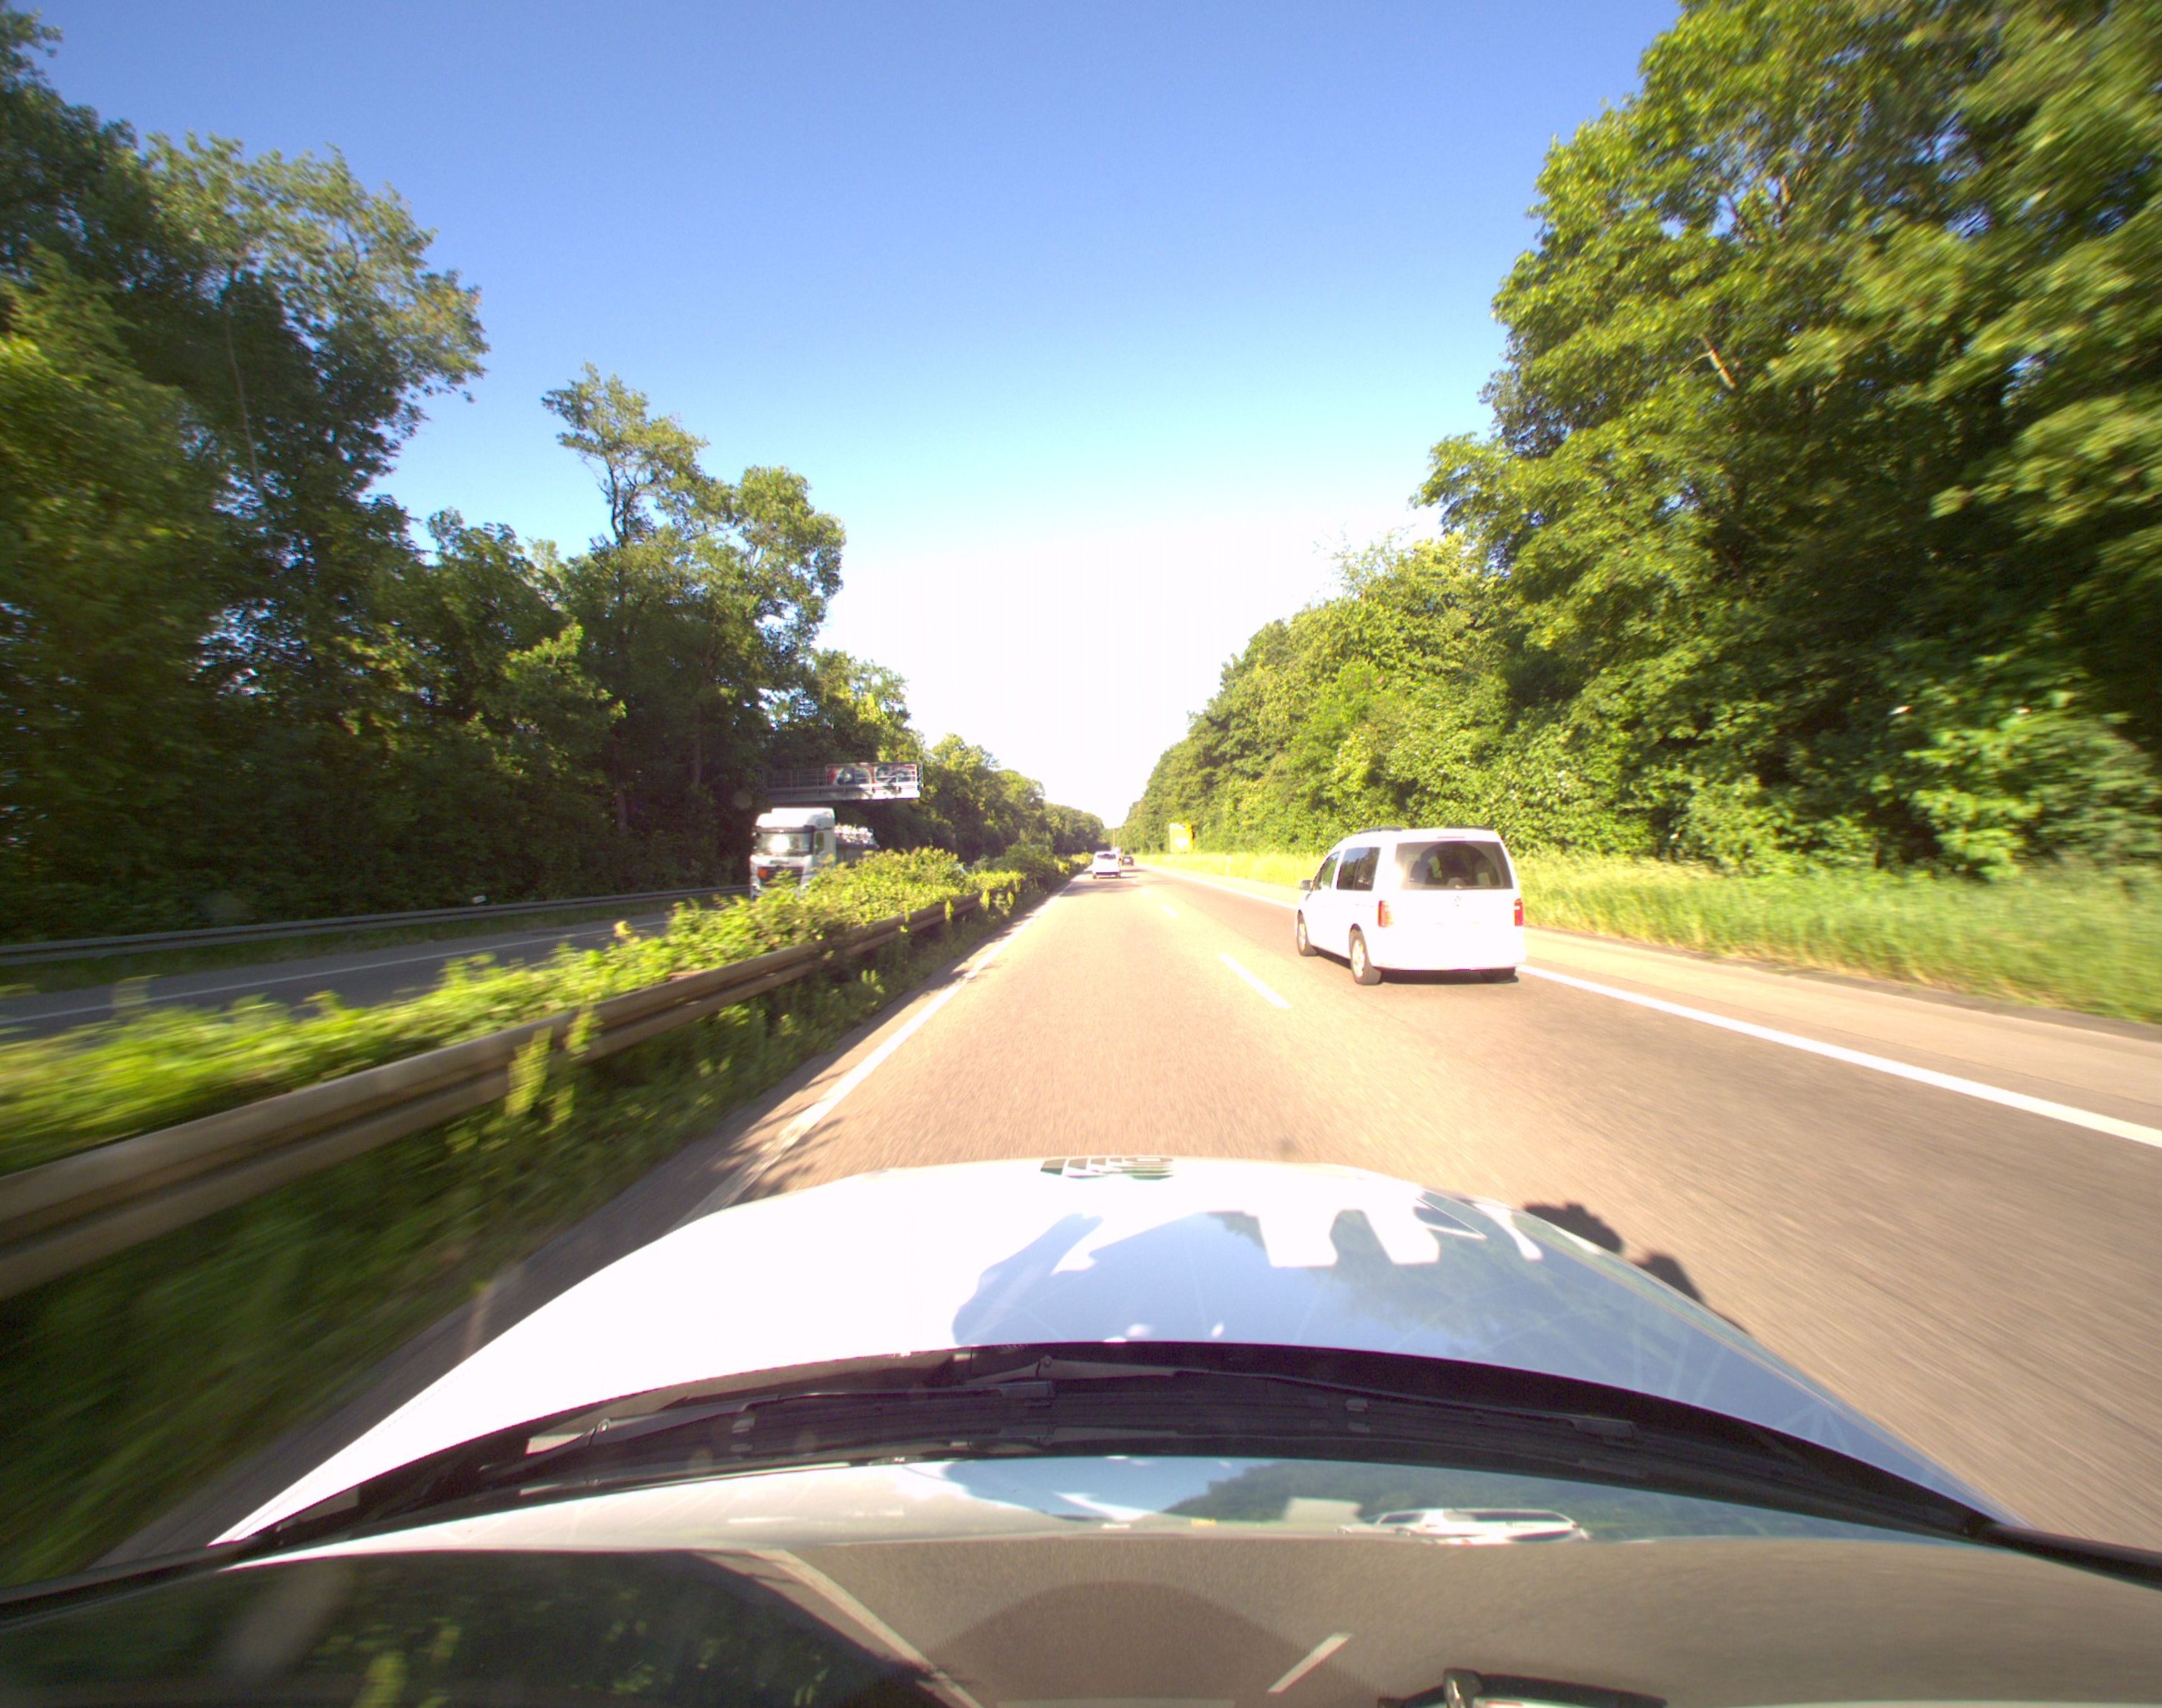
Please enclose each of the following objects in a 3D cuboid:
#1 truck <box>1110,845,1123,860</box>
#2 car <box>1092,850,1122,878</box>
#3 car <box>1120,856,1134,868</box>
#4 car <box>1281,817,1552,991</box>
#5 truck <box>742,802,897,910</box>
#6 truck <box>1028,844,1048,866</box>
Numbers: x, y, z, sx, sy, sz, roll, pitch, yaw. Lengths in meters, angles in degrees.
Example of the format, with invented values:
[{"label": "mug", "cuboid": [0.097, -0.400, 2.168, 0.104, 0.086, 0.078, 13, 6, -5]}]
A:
[{"label": "truck", "cuboid": [10.226, -0.400, 233.465, 3.720, 4.343, 9.308, 0, -1, 2]}, {"label": "car", "cuboid": [1.731, 0.655, 54.768, 1.944, 1.782, 4.588, 0, -1, 1]}, {"label": "car", "cuboid": [6.883, 1.177, 122.124, 1.944, 1.782, 4.588, 0, -1, 1]}, {"label": "car", "cuboid": [4.082, 0.547, 10.844, 1.792, 1.813, 4.588, 0, -1, 1]}, {"label": "truck", "cuboid": [-10.934, 0.138, 35.798, 2.759, 3.955, 11.471, 0, -1, 2]}, {"label": "truck", "cuboid": [-7.983, 0.189, 152.911, 3.217, 4.013, 5.678, 0, 0, 1]}]
